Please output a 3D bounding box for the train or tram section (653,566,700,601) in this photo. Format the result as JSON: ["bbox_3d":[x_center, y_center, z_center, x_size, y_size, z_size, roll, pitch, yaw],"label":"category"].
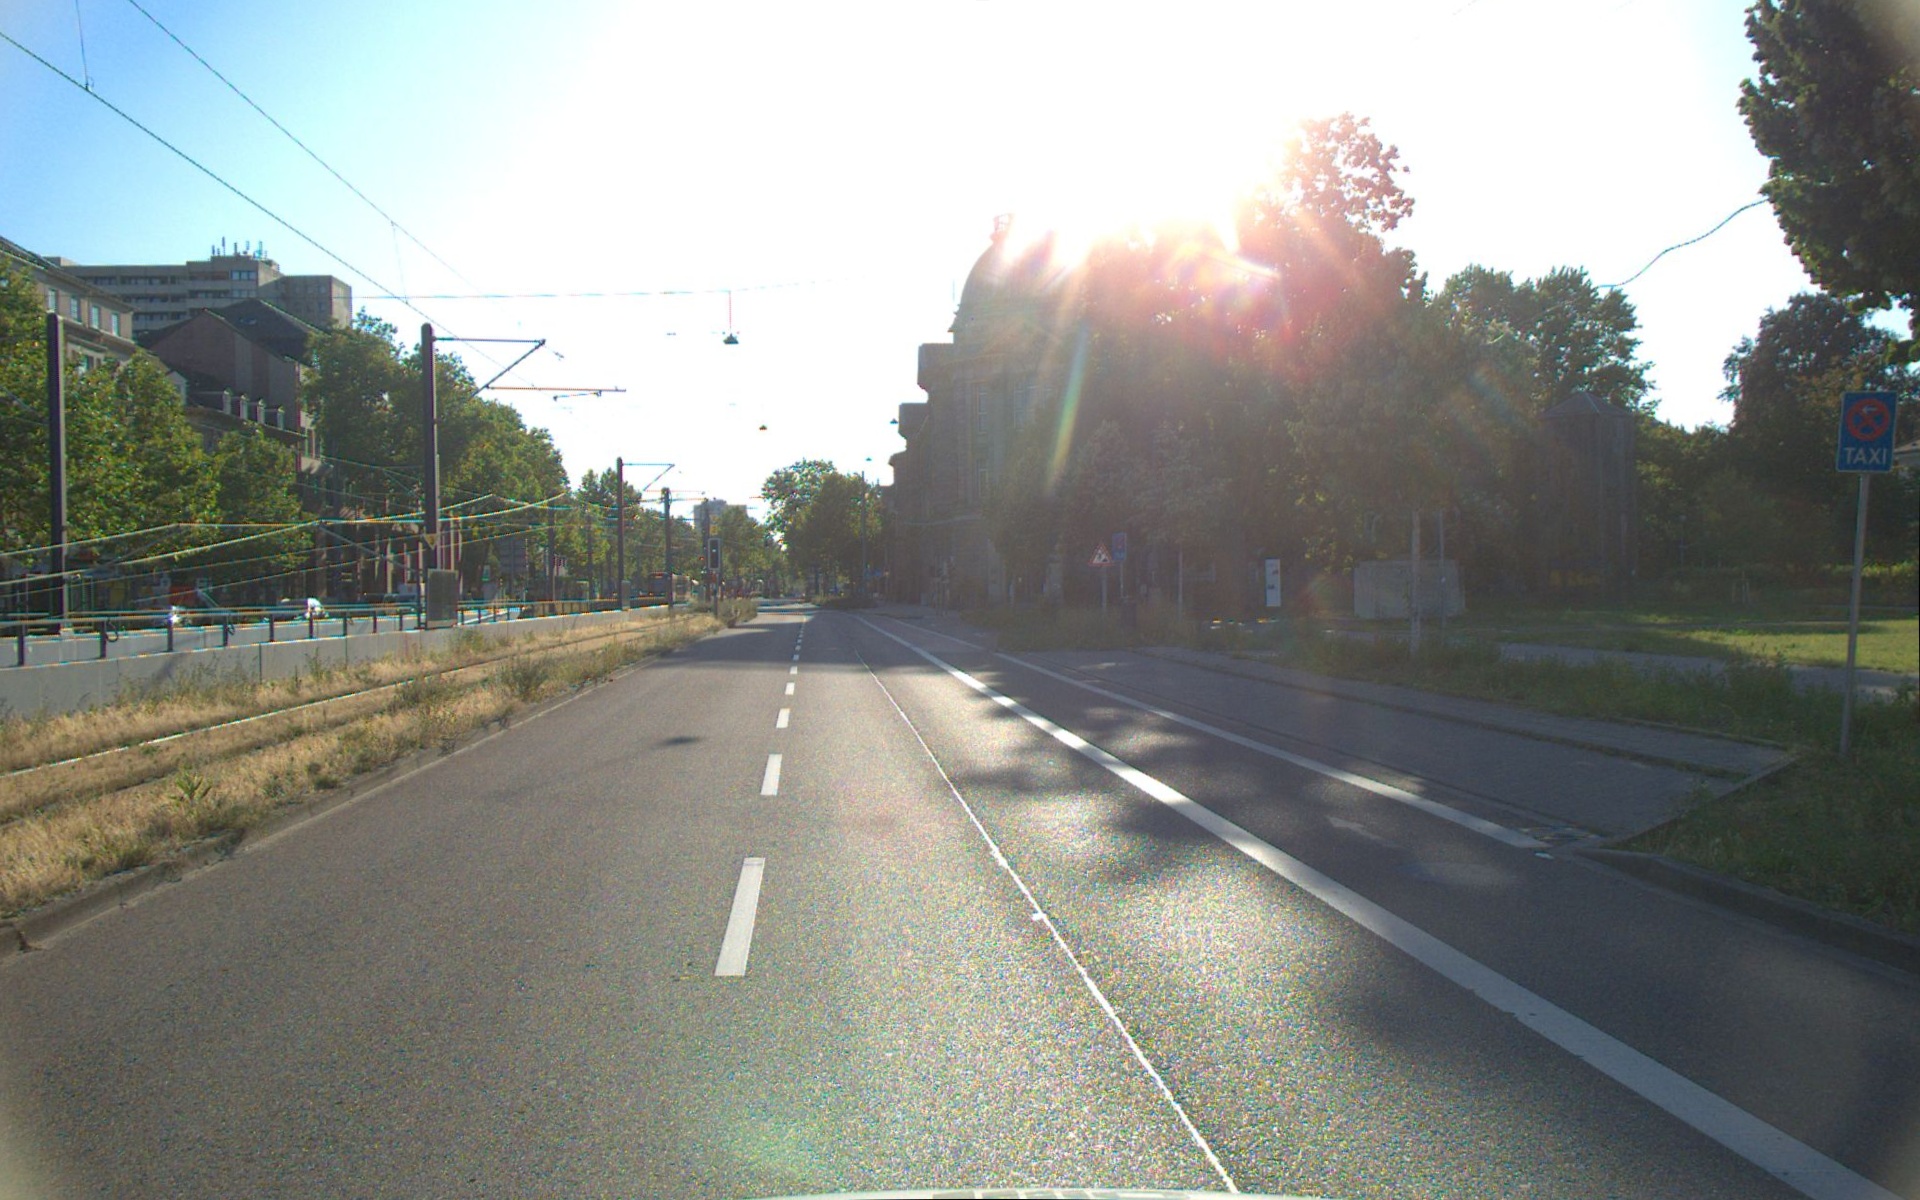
[{"bbox_3d":[-31.597,-1.810,185.057,3.050,3.621,17.468,-1,0,-3],"label":"train or tram section"}]

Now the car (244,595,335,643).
[{"bbox_3d":[-28.152,0.767,69.658,1.954,1.850,4.977,-1,1,-3],"label":"car"}]

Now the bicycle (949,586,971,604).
[{"bbox_3d":[-0.008,-0.335,112.527,0.848,1.217,2.240,-1,0,18],"label":"bicycle"}]

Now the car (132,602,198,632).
[{"bbox_3d":[-37.119,0.770,77.295,1.425,1.355,3.707,1,0,-4],"label":"car"}]

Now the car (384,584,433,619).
[{"bbox_3d":[-35.647,0.097,106.952,1.914,2.171,4.568,-1,1,-5],"label":"car"}]

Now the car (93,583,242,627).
[{"bbox_3d":[-44.861,0.271,93.777,7.136,2.306,2.464,-1,0,-10],"label":"car"}]
